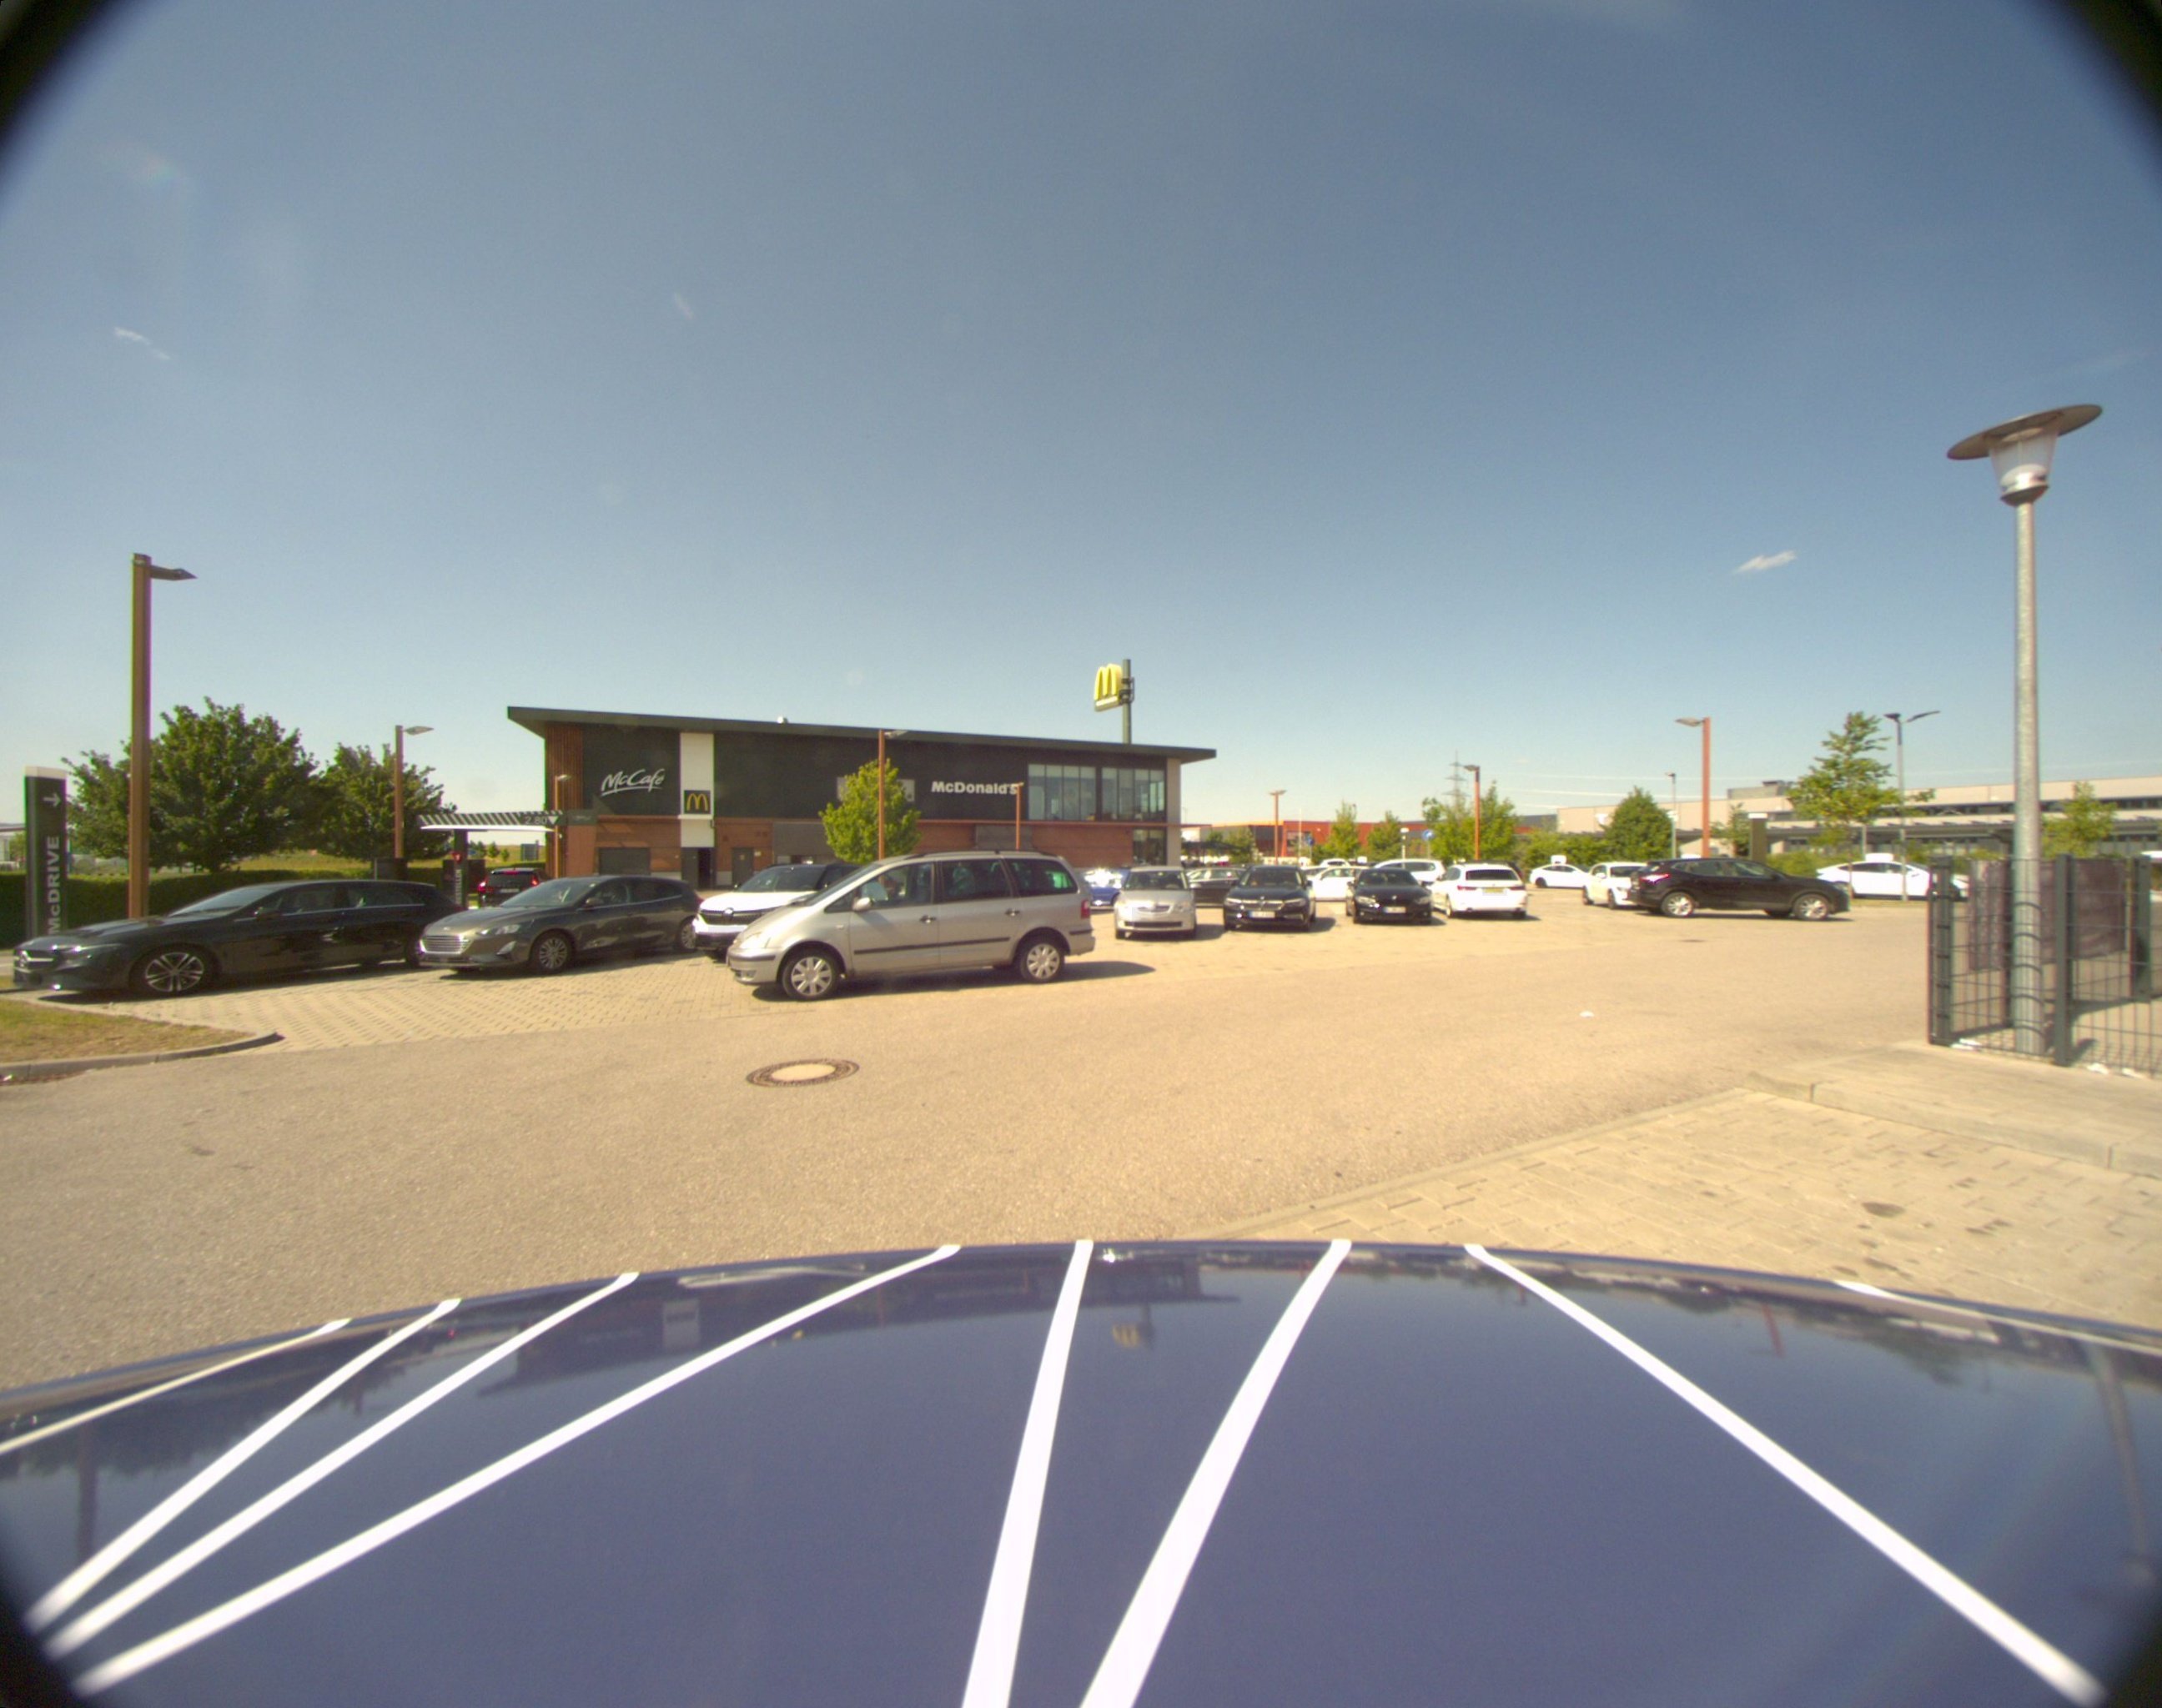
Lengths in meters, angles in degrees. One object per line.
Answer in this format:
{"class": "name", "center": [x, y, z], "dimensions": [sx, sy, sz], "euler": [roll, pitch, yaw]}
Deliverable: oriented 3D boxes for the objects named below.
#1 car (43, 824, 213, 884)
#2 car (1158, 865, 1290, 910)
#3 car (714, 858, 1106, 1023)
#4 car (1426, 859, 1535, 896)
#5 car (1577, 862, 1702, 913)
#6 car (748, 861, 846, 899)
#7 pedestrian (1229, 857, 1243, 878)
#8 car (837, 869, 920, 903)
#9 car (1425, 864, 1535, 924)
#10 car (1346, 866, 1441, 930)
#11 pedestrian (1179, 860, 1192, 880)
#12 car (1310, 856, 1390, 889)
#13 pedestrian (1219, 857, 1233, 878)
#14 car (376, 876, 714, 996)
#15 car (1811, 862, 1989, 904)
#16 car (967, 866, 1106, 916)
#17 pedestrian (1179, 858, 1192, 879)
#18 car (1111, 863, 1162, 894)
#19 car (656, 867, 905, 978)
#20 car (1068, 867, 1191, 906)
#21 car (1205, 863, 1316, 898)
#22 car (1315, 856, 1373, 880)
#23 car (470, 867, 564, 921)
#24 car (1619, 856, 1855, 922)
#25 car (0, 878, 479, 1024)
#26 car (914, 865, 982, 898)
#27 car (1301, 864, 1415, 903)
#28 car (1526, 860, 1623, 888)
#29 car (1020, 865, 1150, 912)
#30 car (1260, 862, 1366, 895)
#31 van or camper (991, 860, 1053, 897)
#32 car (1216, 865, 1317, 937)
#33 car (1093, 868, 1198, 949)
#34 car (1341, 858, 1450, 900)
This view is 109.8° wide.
{"class": "car", "center": [-37.796, 0.024, 30.370], "dimensions": [2.002, 2.184, 5.097], "euler": [0, -1, -23]}
{"class": "car", "center": [5.067, 1.162, 26.890], "dimensions": [4.270, 1.478, 1.816], "euler": [-1, 0, 22]}
{"class": "car", "center": [-2.184, 0.944, 9.984], "dimensions": [4.689, 1.738, 1.829], "euler": [-1, 0, -24]}
{"class": "car", "center": [17.352, 1.001, 33.239], "dimensions": [3.991, 1.543, 1.757], "euler": [-1, -1, 19]}
{"class": "car", "center": [17.331, 0.992, 23.836], "dimensions": [1.971, 1.451, 4.213], "euler": [-1, -1, 19]}
{"class": "car", "center": [-12.908, 1.143, 34.875], "dimensions": [1.958, 1.593, 4.473], "euler": [-1, -1, 16]}
{"class": "pedestrian", "center": [11.782, 1.026, 57.754], "dimensions": [0.702, 1.550, 0.721], "euler": [-1, 0, -23]}
{"class": "car", "center": [-9.518, 1.485, 36.106], "dimensions": [1.959, 1.456, 4.473], "euler": [-1, -1, 13]}
{"class": "car", "center": [10.897, 1.032, 21.084], "dimensions": [1.833, 1.451, 4.591], "euler": [-1, -1, 17]}
{"class": "car", "center": [7.942, 1.042, 19.667], "dimensions": [1.833, 1.451, 4.376], "euler": [-1, -1, 17]}
{"class": "pedestrian", "center": [8.169, 1.221, 59.279], "dimensions": [0.700, 1.550, 0.724], "euler": [-1, 0, 38]}
{"class": "car", "center": [14.703, 1.006, 41.573], "dimensions": [3.948, 1.764, 1.657], "euler": [-1, -1, 27]}
{"class": "pedestrian", "center": [10.864, 1.024, 56.964], "dimensions": [0.702, 1.550, 0.721], "euler": [-1, 0, -23]}
{"class": "car", "center": [-8.279, 1.151, 12.319], "dimensions": [1.972, 1.517, 4.212], "euler": [-1, -1, 13]}
{"class": "car", "center": [32.946, 1.103, 30.738], "dimensions": [1.845, 1.583, 4.566], "euler": [0, 0, -27]}
{"class": "car", "center": [-1.431, 1.161, 24.466], "dimensions": [4.105, 1.484, 1.714], "euler": [-1, 0, 22]}
{"class": "pedestrian", "center": [7.865, 1.071, 57.282], "dimensions": [0.700, 1.550, 0.724], "euler": [-1, 0, 38]}
{"class": "car", "center": [3.111, 1.301, 41.968], "dimensions": [1.713, 1.603, 4.043], "euler": [-1, -1, 20]}
{"class": "car", "center": [-5.154, 1.082, 13.754], "dimensions": [1.971, 1.644, 4.213], "euler": [-1, -1, 17]}
{"class": "car", "center": [1.977, 1.312, 31.118], "dimensions": [4.634, 1.478, 1.899], "euler": [-1, 0, 22]}
{"class": "car", "center": [8.103, 1.182, 34.293], "dimensions": [4.634, 1.478, 1.899], "euler": [-1, 0, 22]}
{"class": "car", "center": [18.263, 0.961, 53.001], "dimensions": [1.765, 1.552, 3.877], "euler": [0, -1, -20]}
{"class": "car", "center": [-19.460, 1.318, 26.403], "dimensions": [2.000, 1.681, 4.226], "euler": [0, -1, -28]}
{"class": "car", "center": [16.849, 0.847, 19.807], "dimensions": [4.293, 1.581, 1.860], "euler": [0, 0, 23]}
{"class": "car", "center": [-11.593, 1.147, 10.805], "dimensions": [1.971, 1.517, 4.340], "euler": [0, -1, 21]}
{"class": "car", "center": [-6.402, 1.299, 37.054], "dimensions": [1.711, 1.506, 3.955], "euler": [0, 0, 16]}
{"class": "car", "center": [10.931, 1.147, 30.014], "dimensions": [4.105, 1.405, 1.816], "euler": [-1, 0, 22]}
{"class": "car", "center": [27.844, 1.079, 43.031], "dimensions": [1.844, 1.470, 4.324], "euler": [0, 0, -23]}
{"class": "car", "center": [0.139, 1.165, 26.378], "dimensions": [4.105, 1.506, 1.816], "euler": [-1, 0, 22]}
{"class": "car", "center": [11.039, 1.155, 36.123], "dimensions": [4.634, 1.478, 1.899], "euler": [-1, 0, 22]}
{"class": "van or camper", "center": [-2.959, 1.210, 38.918], "dimensions": [1.708, 1.764, 4.034], "euler": [-1, -1, 19]}
{"class": "car", "center": [4.635, 1.027, 18.415], "dimensions": [1.971, 1.477, 4.790], "euler": [-1, -1, 19]}
{"class": "car", "center": [1.445, 1.076, 16.559], "dimensions": [1.973, 1.517, 4.210], "euler": [-1, -1, 6]}
{"class": "car", "center": [13.204, 1.028, 32.065], "dimensions": [4.105, 1.664, 1.816], "euler": [-1, 0, 22]}
